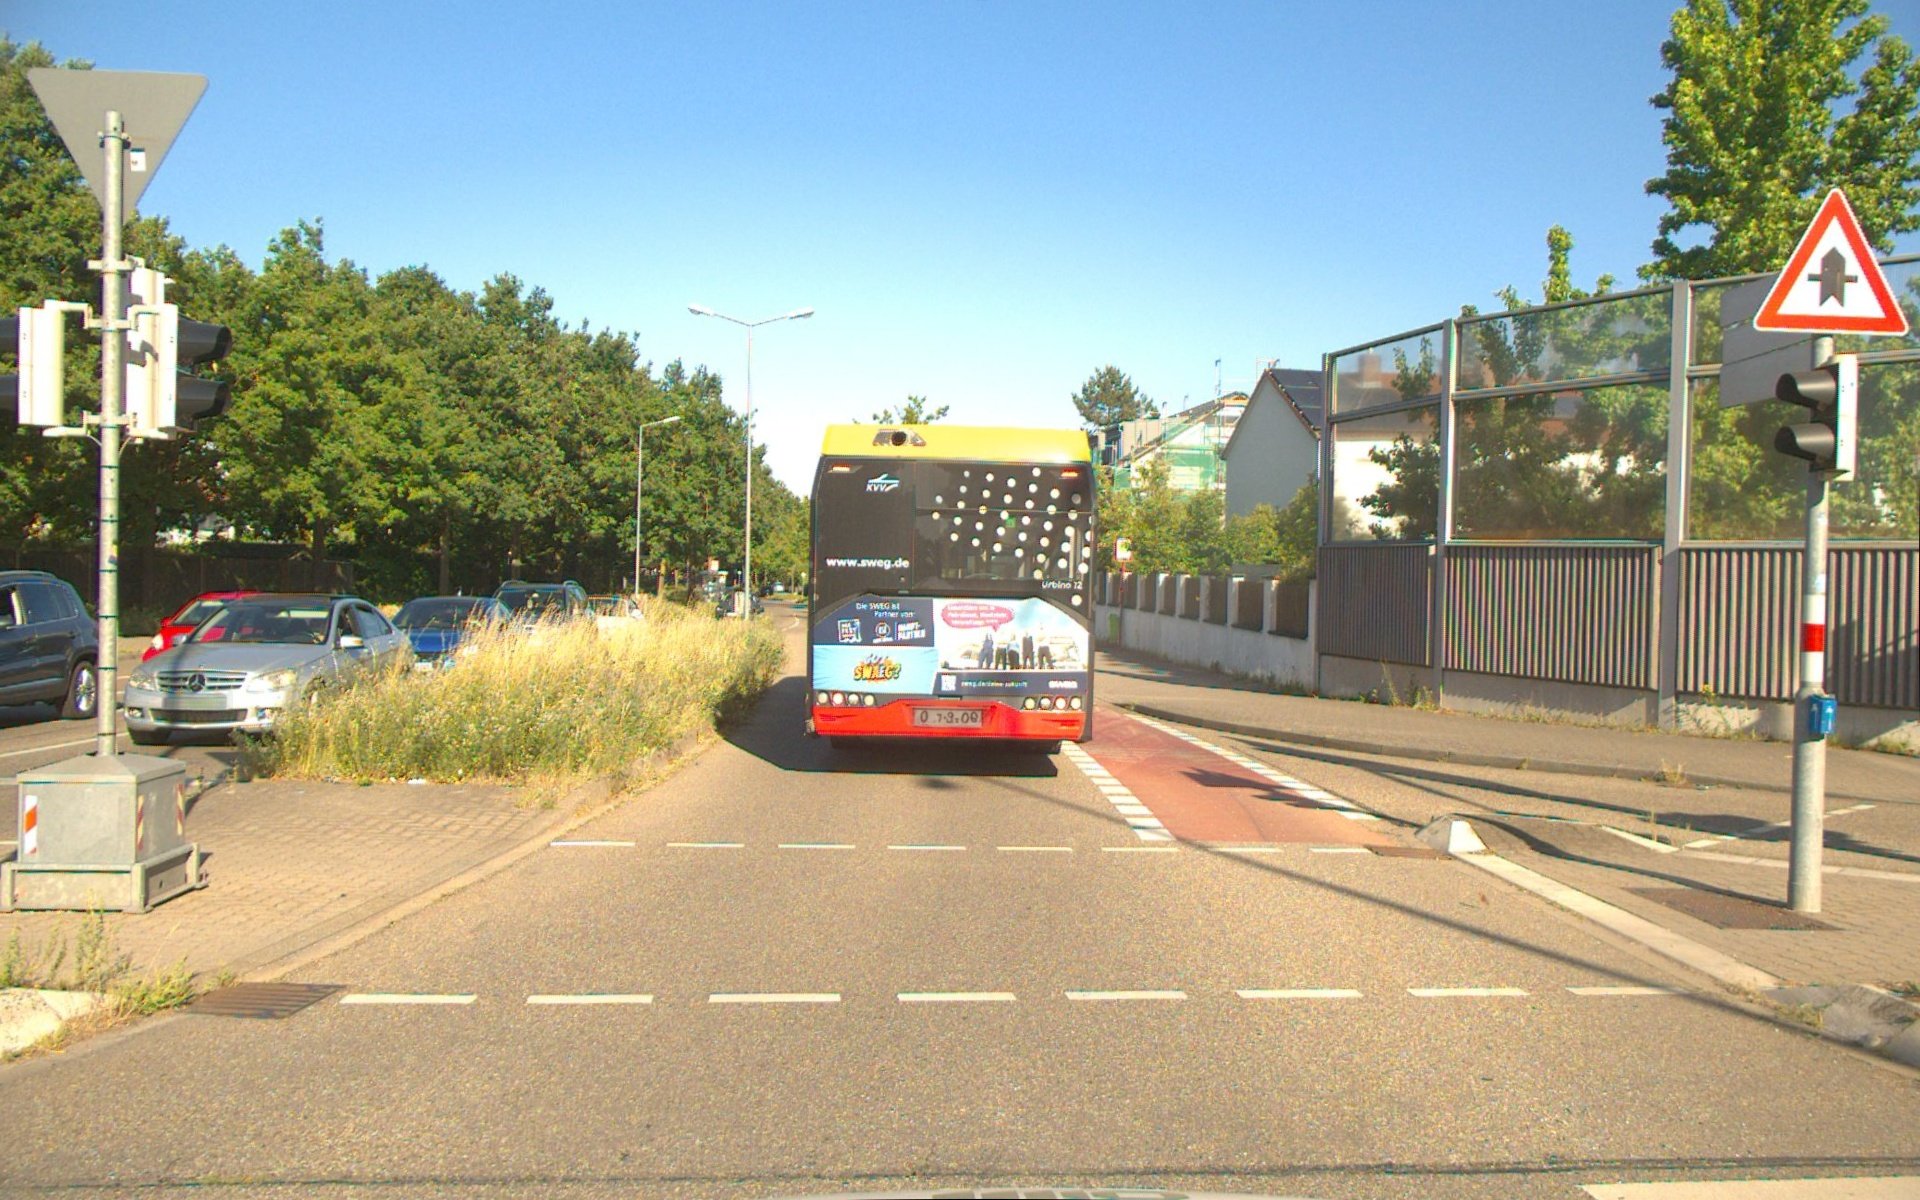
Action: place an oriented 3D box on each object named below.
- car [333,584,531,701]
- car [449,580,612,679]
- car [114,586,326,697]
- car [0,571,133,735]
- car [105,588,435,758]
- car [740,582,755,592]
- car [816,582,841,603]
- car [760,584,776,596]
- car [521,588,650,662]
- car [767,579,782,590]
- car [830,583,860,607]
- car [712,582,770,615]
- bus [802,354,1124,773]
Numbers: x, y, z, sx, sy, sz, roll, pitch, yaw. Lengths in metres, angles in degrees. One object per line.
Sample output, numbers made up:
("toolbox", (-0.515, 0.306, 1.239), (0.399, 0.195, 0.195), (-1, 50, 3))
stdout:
("car", (-7.503, 0.542, 23.867), (1.711, 1.509, 3.887), (1, 1, -2))
("car", (-7.756, 0.470, 30.304), (1.953, 1.644, 4.528), (1, 1, -3))
("car", (-11.047, 0.566, 24.948), (1.612, 1.509, 3.712), (1, 1, -2))
("car", (-10.911, 0.534, 17.699), (1.953, 1.672, 4.529), (1, 1, -2))
("car", (-7.177, 0.670, 17.757), (1.757, 1.532, 4.529), (1, 1, -2))
("car", (-30.921, -1.883, 240.538), (1.898, 1.479, 3.991), (1, 0, -10))
("car", (-11.702, -0.666, 147.022), (1.897, 1.772, 3.993), (1, 0, -8))
("car", (-24.930, -1.305, 215.072), (1.897, 1.569, 3.993), (1, 0, -8))
("car", (-8.008, 0.530, 35.773), (1.953, 1.476, 4.397), (1, -1, -3))
("car", (-26.974, -2.228, 240.874), (1.898, 1.479, 3.991), (1, 0, -10))
("car", (-8.703, -0.387, 125.018), (1.900, 1.734, 3.993), (1, 0, -8))
("car", (-9.799, -0.092, 74.300), (1.673, 1.456, 4.003), (0, 1, 6))
("bus", (-0.110, -0.295, 20.150), (2.701, 3.519, 12.394), (0, 0, -1))
